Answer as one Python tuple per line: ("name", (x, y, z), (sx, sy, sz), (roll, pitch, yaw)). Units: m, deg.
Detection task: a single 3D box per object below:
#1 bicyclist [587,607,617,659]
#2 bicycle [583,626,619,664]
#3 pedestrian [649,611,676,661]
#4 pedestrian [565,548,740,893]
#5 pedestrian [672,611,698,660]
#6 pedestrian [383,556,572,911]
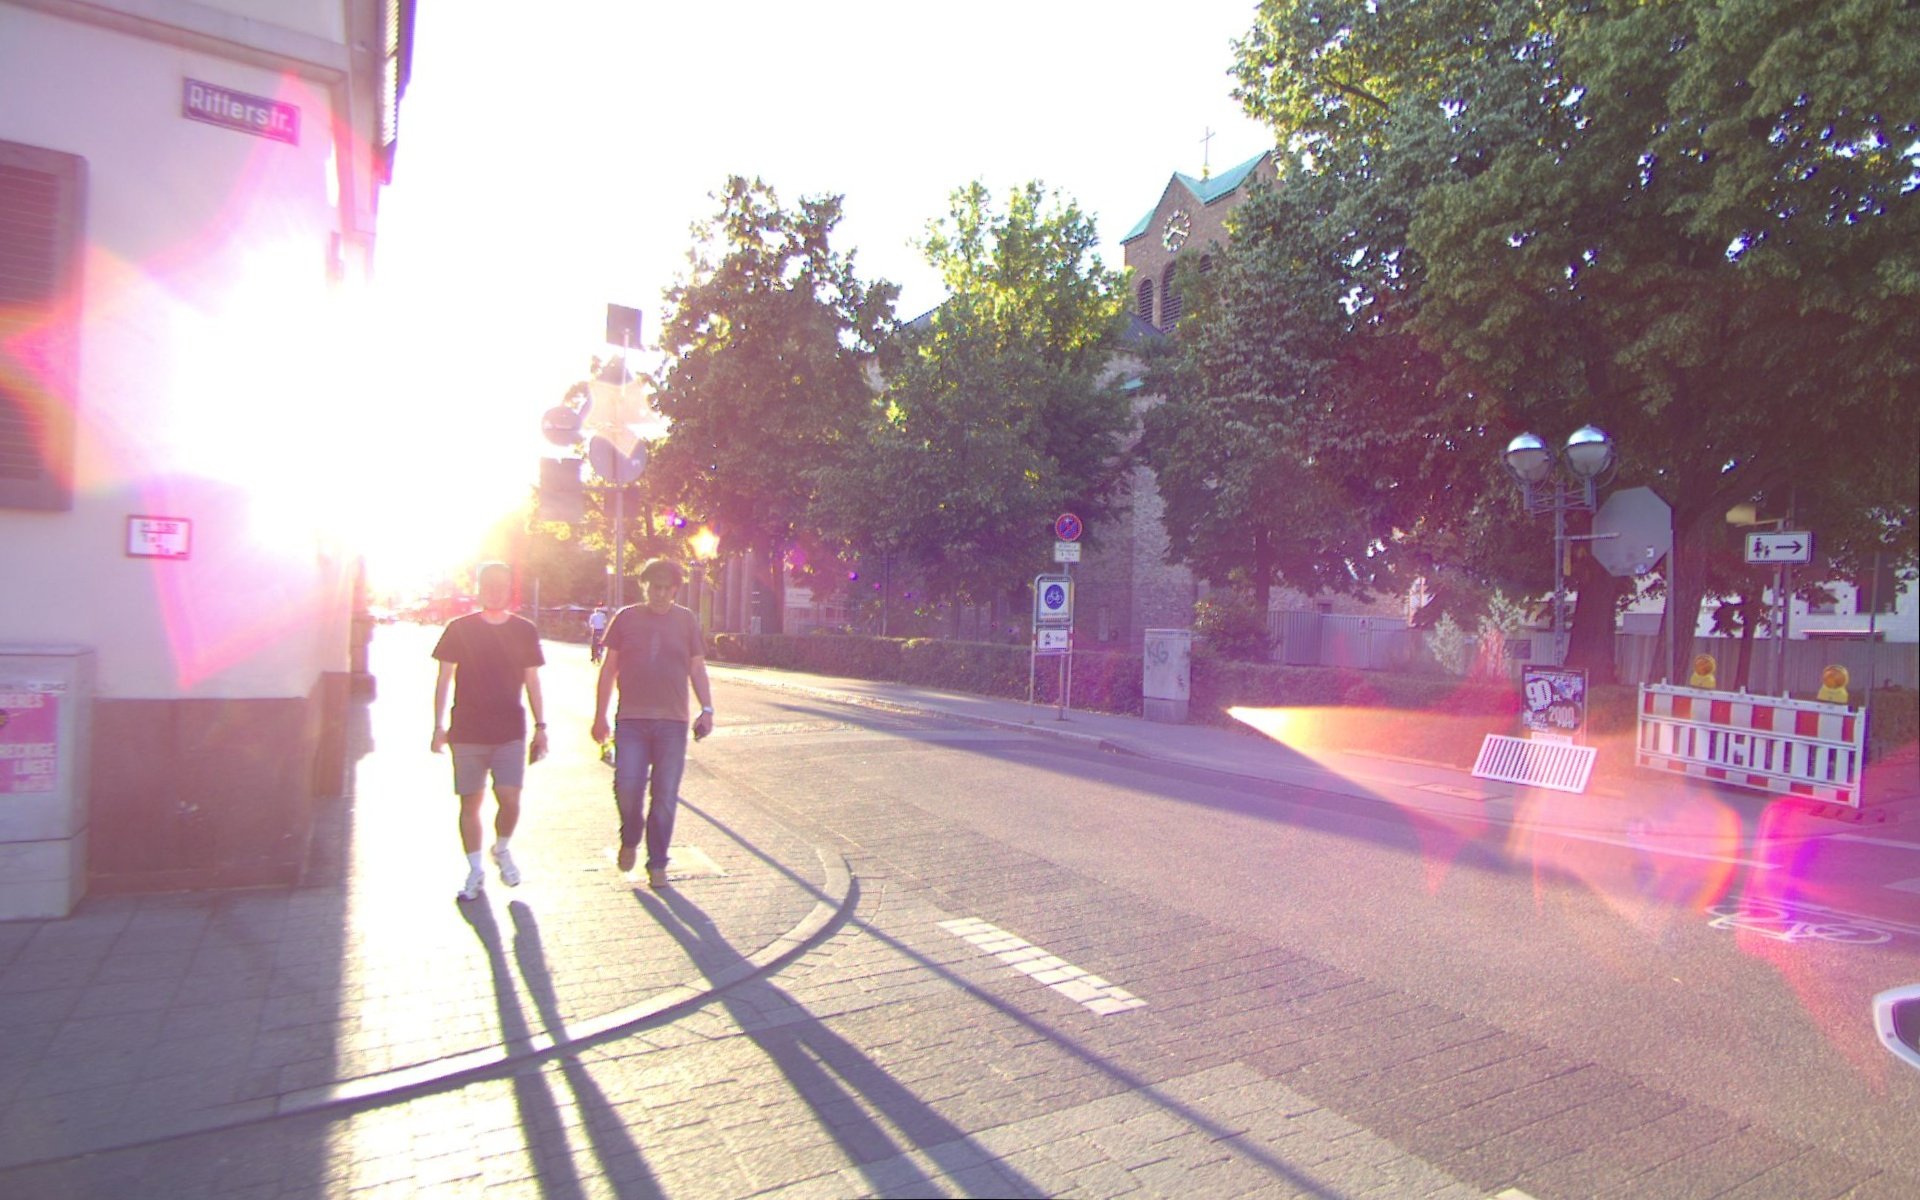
("bicyclist", (-11.552, 1.054, 32.388), (0.590, 1.654, 1.054), (3, -2, -35))
("bicycle", (-11.567, 1.442, 32.354), (0.590, 1.136, 1.915), (3, -2, -34))
("pedestrian", (-11.318, 1.371, 38.237), (0.787, 1.837, 0.651), (3, -2, -32))
("pedestrian", (-1.798, 0.663, 5.858), (0.787, 1.838, 0.651), (3, -2, -31))
("pedestrian", (-10.587, 1.376, 38.685), (0.786, 1.849, 0.651), (3, -2, -29))
("pedestrian", (-2.569, 0.664, 5.336), (0.787, 1.711, 0.651), (3, -2, -31))
